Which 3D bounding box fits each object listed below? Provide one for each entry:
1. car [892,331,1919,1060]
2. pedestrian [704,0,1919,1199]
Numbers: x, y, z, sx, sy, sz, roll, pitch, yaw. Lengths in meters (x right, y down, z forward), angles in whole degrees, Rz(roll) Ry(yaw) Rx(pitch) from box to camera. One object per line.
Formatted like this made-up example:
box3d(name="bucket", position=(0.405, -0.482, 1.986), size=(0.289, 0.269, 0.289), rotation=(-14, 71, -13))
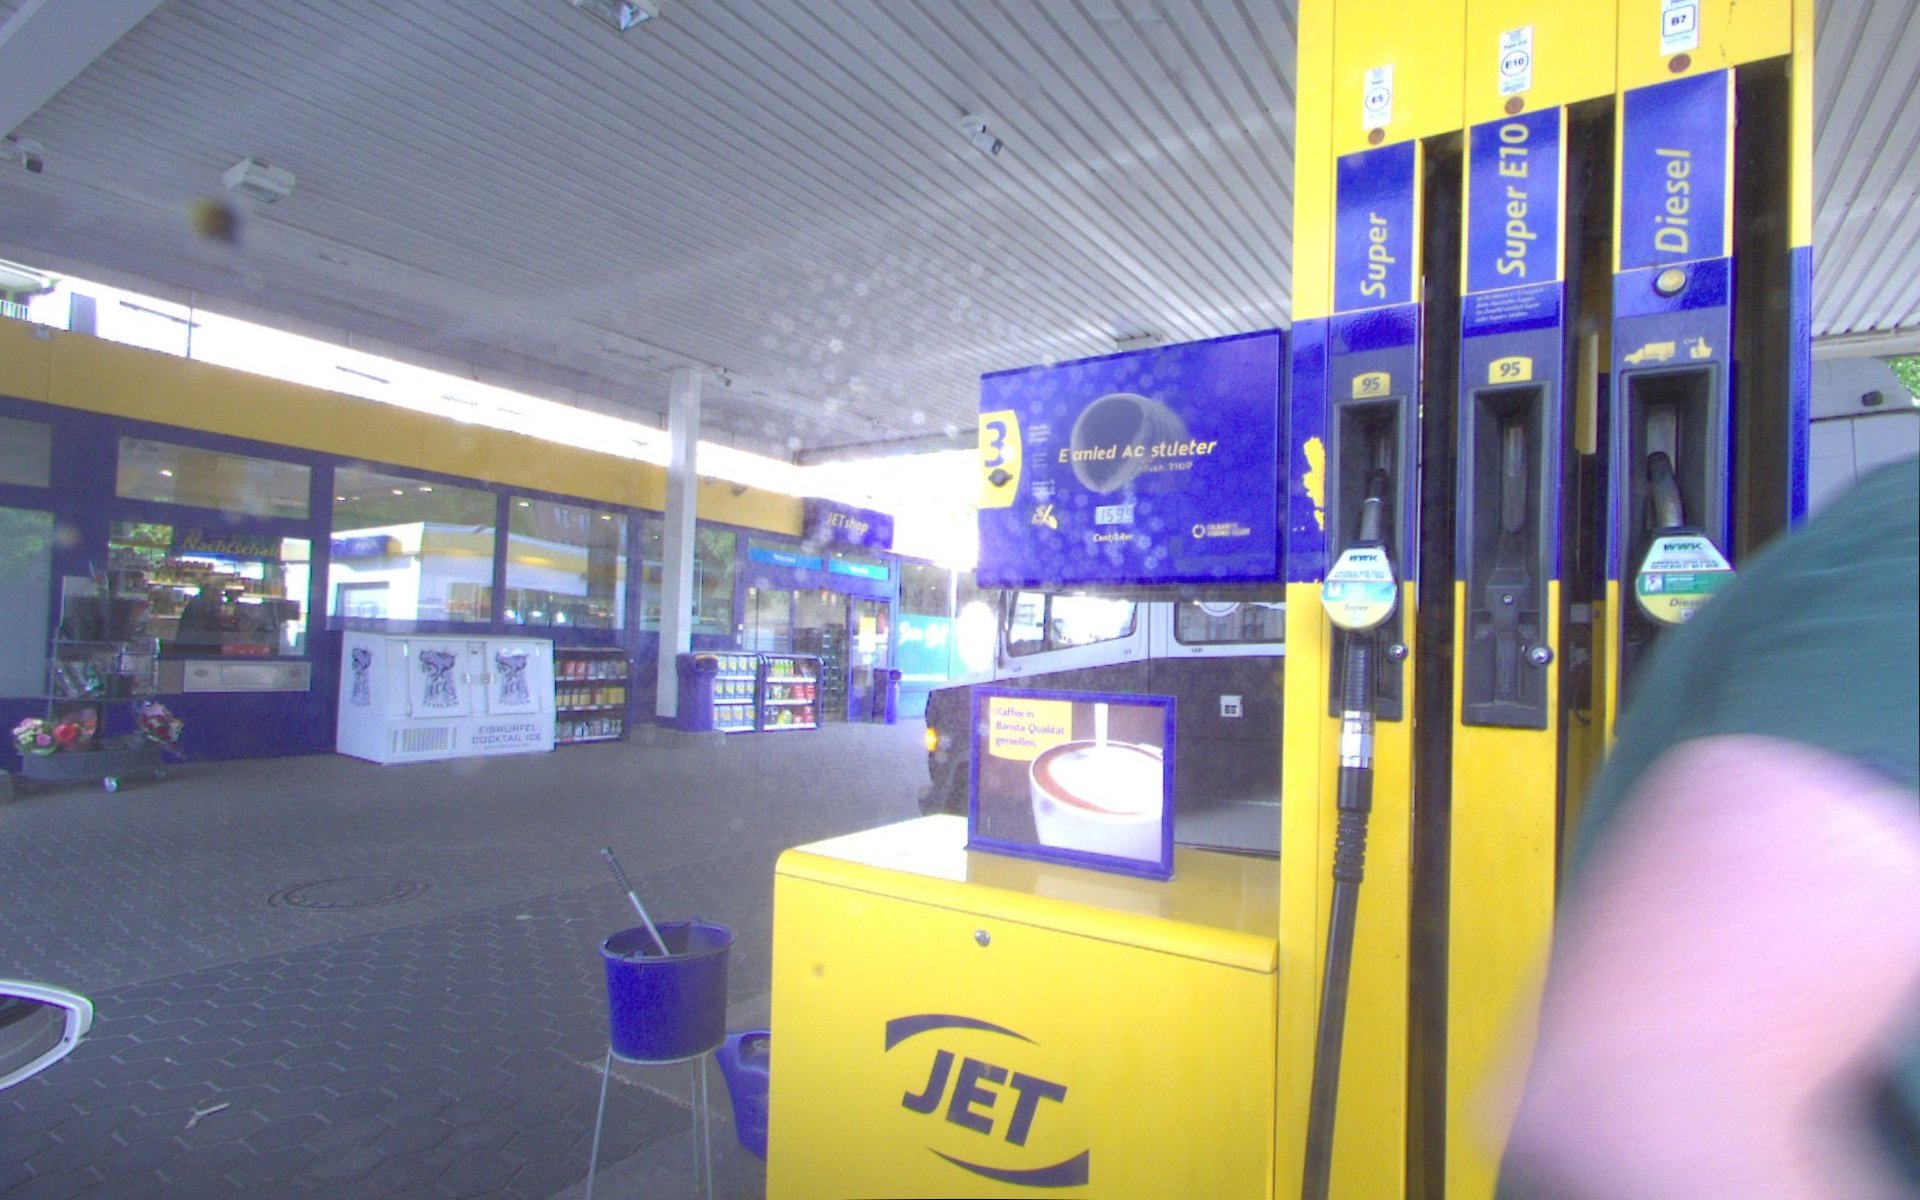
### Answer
box3d(name="car", position=(2.354, 0.437, 6.005), size=(5.271, 2.759, 2.193), rotation=(-1, -3, 34))
box3d(name="pedestrian", position=(0.663, 0.556, 0.452), size=(1.167, 1.750, 0.988), rotation=(-2, -2, 35))
